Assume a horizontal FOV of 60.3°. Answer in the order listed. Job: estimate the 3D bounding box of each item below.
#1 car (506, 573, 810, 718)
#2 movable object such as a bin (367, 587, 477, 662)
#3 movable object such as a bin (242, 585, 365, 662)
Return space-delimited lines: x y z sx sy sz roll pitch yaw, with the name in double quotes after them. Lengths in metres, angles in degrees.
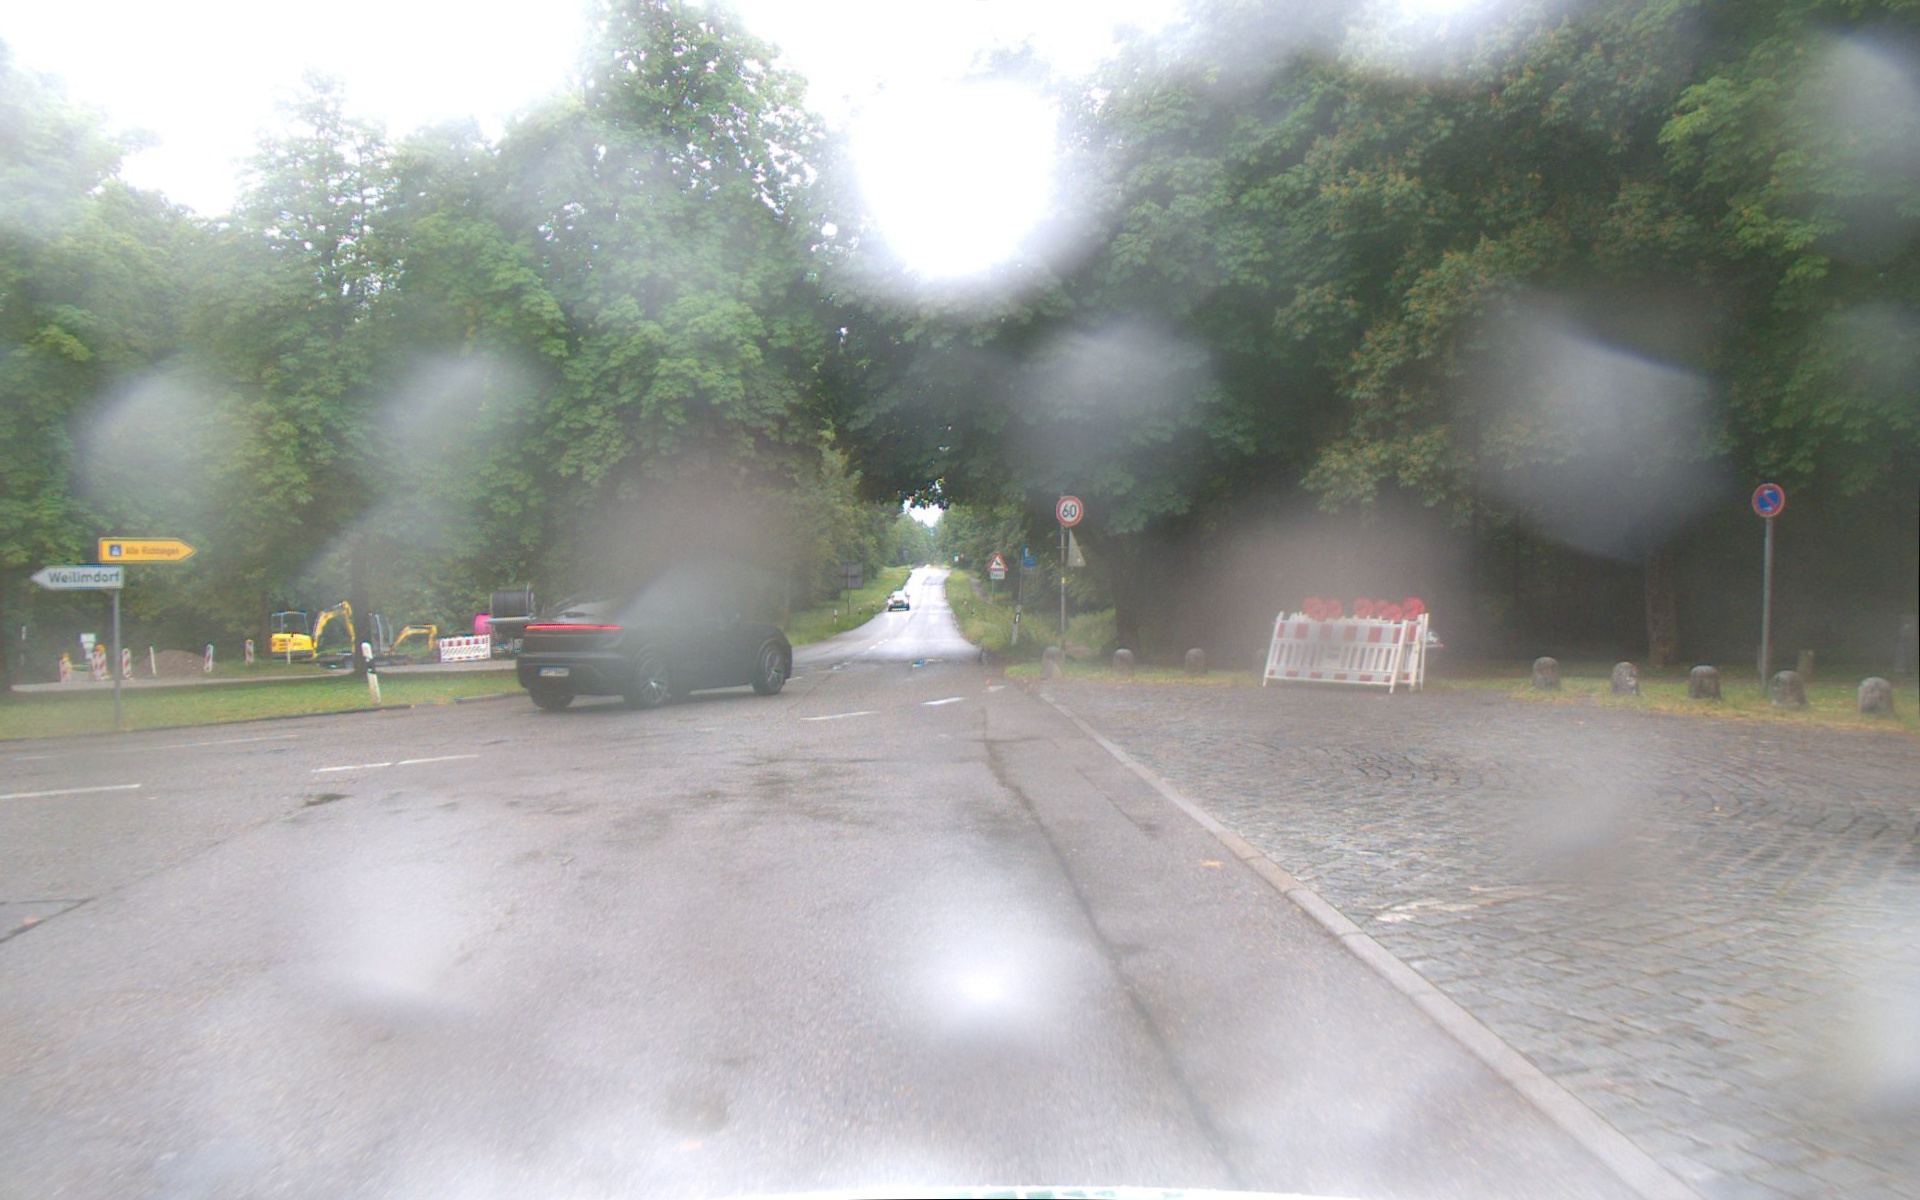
-4.151 0.573 23.517 1.693 1.738 4.568 -2 1 29 "car"
-25.329 1.120 78.102 4.501 3.351 3.655 -2 0 -12 "movable object such as a bin"
-30.220 1.051 76.373 4.573 3.351 3.902 -2 0 -12 "movable object such as a bin"
